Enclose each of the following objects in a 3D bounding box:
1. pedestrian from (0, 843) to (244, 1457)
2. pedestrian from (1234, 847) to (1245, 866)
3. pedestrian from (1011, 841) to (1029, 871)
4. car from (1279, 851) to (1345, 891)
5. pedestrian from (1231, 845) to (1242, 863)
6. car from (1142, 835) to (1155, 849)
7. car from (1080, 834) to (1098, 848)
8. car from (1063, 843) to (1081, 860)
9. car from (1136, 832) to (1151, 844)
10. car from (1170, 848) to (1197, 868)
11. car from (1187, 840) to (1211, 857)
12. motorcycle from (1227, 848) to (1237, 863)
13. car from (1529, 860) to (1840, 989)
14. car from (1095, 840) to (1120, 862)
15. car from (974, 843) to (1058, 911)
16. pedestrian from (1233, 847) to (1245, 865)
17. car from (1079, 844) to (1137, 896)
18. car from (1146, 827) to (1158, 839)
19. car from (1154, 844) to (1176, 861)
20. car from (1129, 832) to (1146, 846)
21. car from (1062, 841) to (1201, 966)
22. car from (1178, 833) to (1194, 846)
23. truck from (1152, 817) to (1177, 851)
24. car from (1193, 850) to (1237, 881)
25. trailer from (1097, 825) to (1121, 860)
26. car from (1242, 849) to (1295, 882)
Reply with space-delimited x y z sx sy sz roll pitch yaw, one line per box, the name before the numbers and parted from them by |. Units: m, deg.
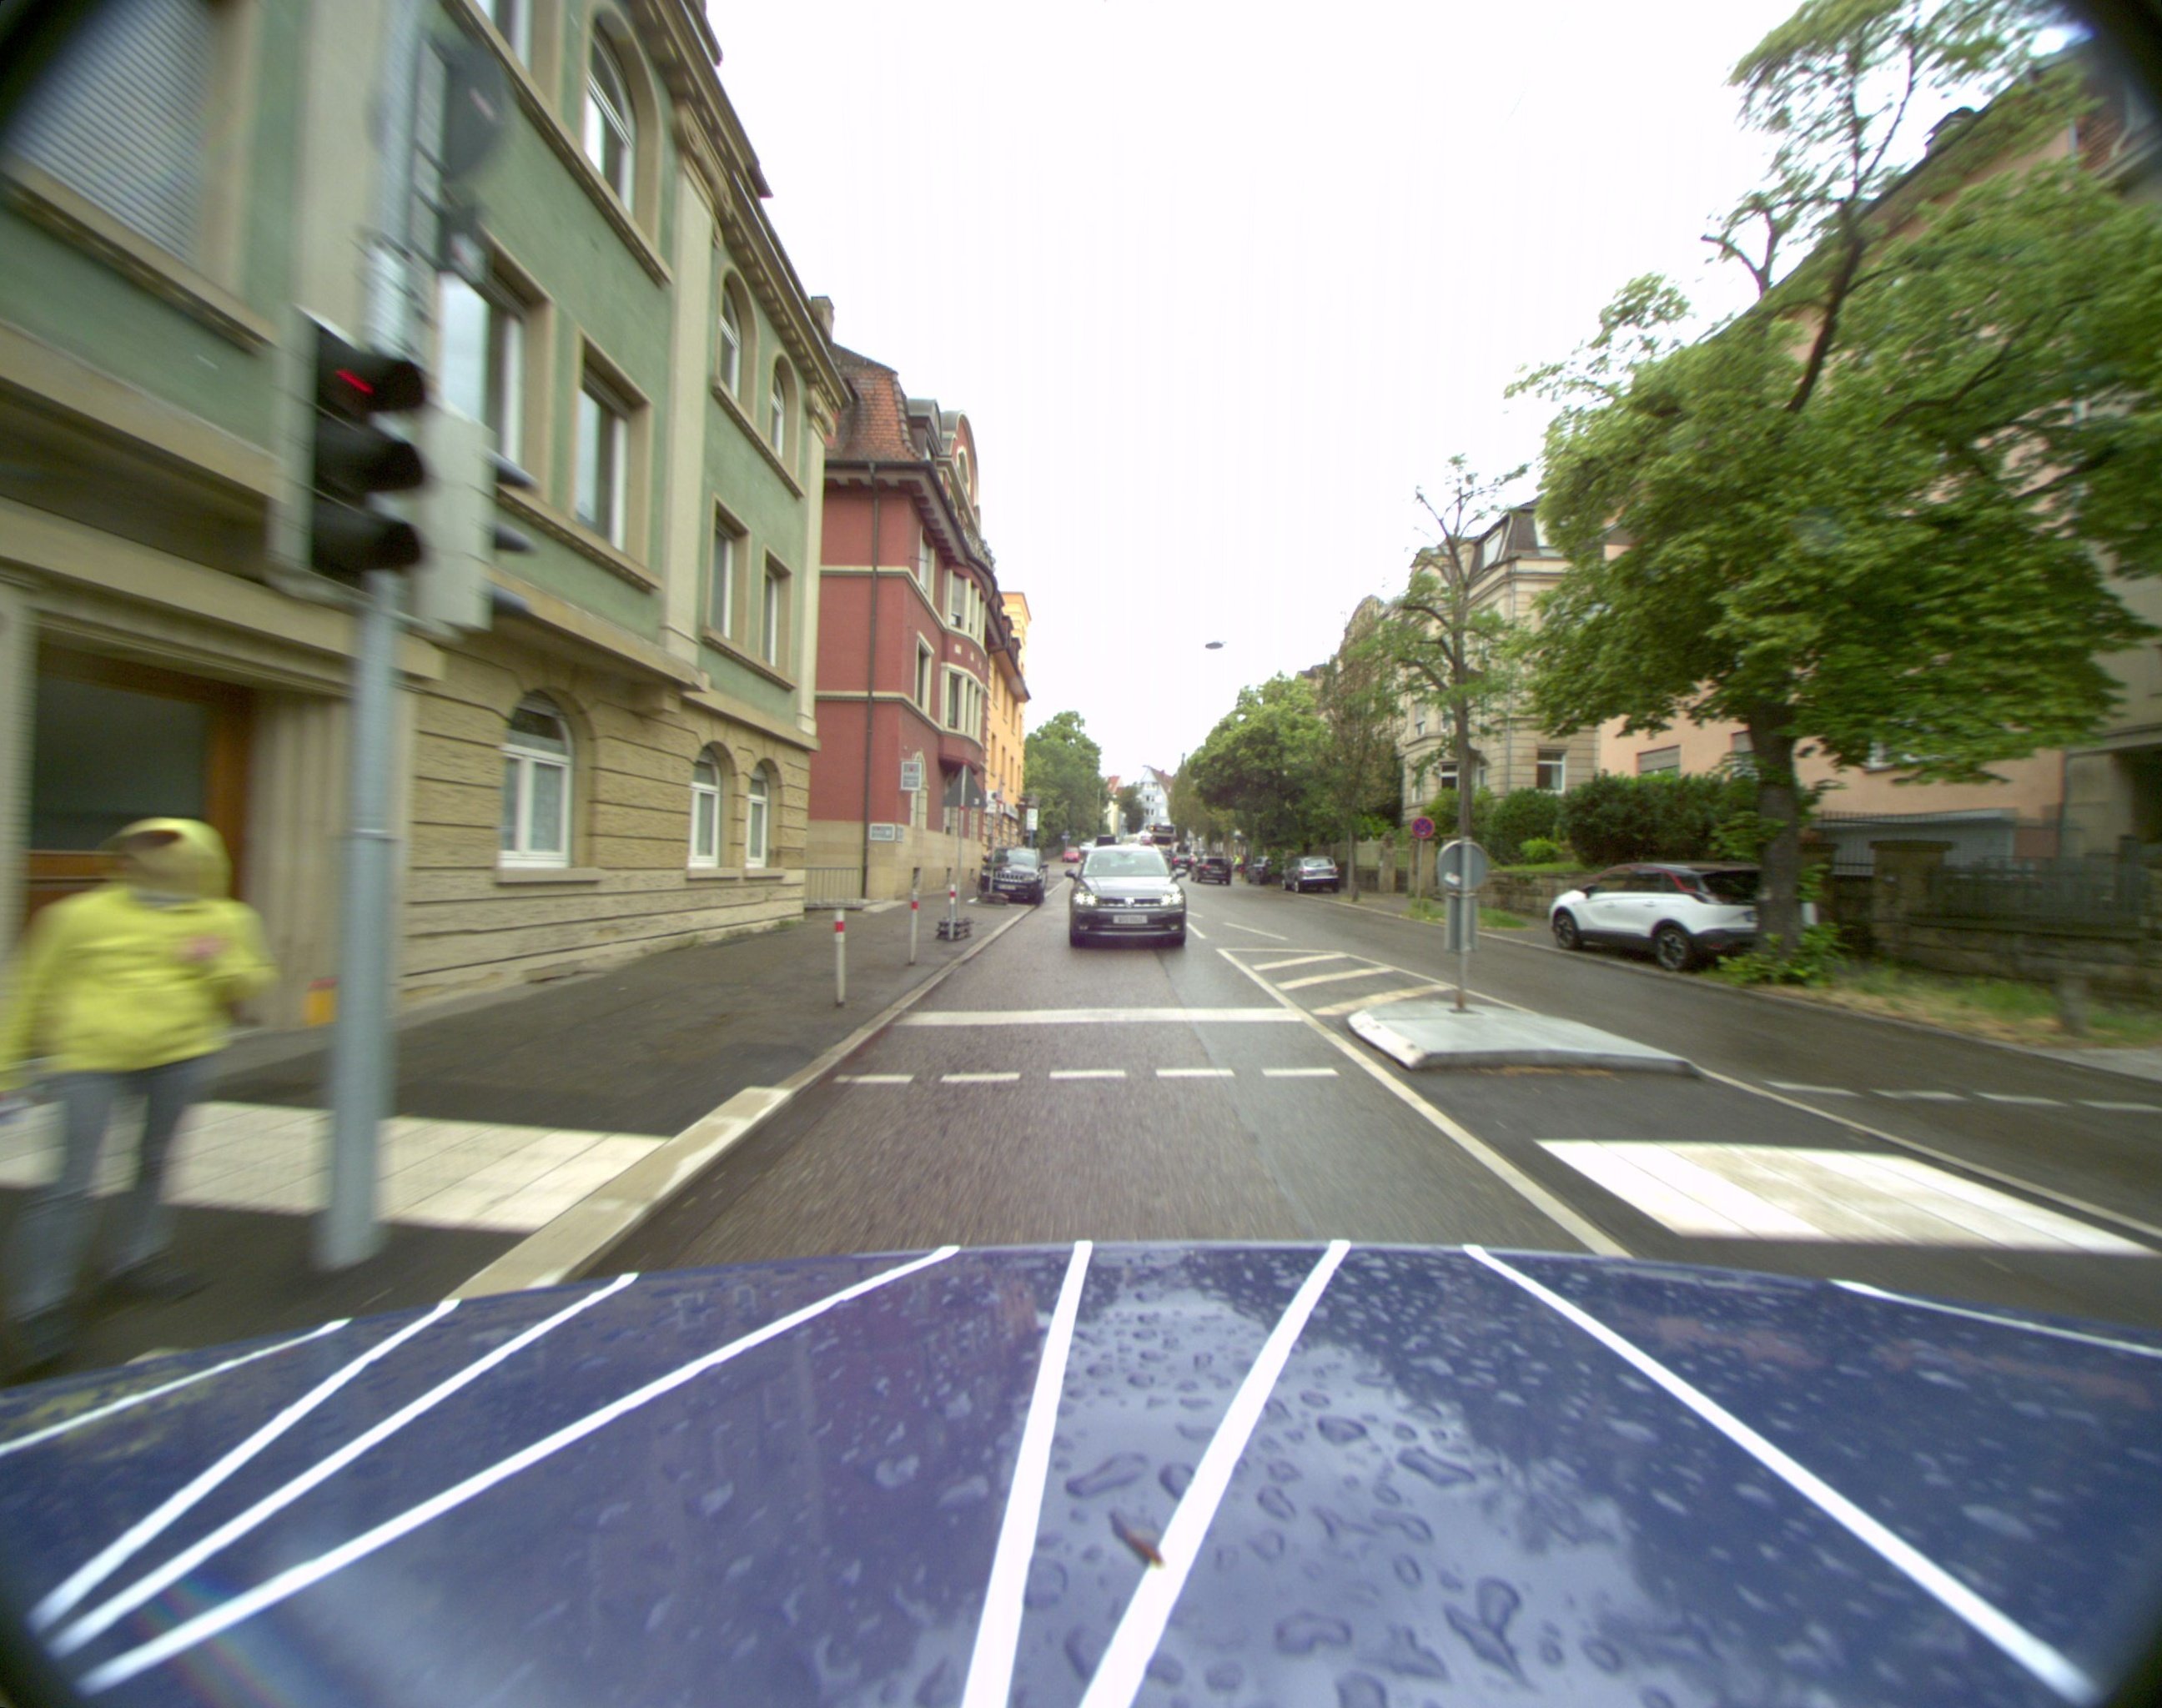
pedestrian | -2.992 0.775 2.241 0.663 1.576 0.600 4 2 36
pedestrian | 12.614 0.179 60.431 0.768 1.424 0.649 2 3 4
pedestrian | -3.304 0.091 41.024 0.769 1.581 0.710 1 3 -17
car | 10.161 0.696 33.743 1.745 1.550 4.301 0 2 2
pedestrian | 12.631 0.003 61.705 0.768 1.424 0.759 2 3 2
car | 9.902 -1.784 111.246 1.655 1.699 4.114 4 4 8
car | 1.049 -1.664 94.435 1.745 1.455 4.883 5 3 5
car | -0.858 -0.299 75.398 1.613 1.493 3.957 3 2 2
car | 8.360 -2.122 101.537 1.714 1.471 4.115 4 2 8
car | 8.443 0.281 62.898 1.776 1.509 4.590 1 1 1
car | 11.797 -0.590 76.127 1.746 1.550 4.300 0 2 0
motorcycle | 13.164 0.103 66.392 0.657 1.230 1.763 2 2 5
car | 9.433 0.978 12.444 1.745 1.550 4.301 0 2 2
car | 2.251 -0.277 63.302 1.924 1.642 4.134 0 2 4
car | -1.873 0.611 23.373 1.881 1.621 4.696 4 2 2
pedestrian | 12.661 0.149 60.960 0.768 1.424 0.649 2 3 4
car | 1.064 0.518 27.529 1.924 1.642 4.486 0 2 4
car | 11.164 -3.244 119.214 1.655 1.699 4.114 4 4 8
car | 8.660 -0.154 78.500 1.776 1.460 4.745 3 3 1
car | 6.596 -1.730 88.391 1.776 1.509 4.099 2 2 5
car | 0.768 0.631 13.006 1.859 1.642 5.194 1 2 2
car | 13.977 -2.001 101.611 2.000 1.587 3.828 -1 2 7
truck | 10.342 -2.486 94.581 2.653 3.833 9.308 4 2 6
car | 7.253 0.560 41.575 1.819 1.509 4.549 3 1 4
trailer | 2.465 -1.026 66.506 1.966 3.025 2.364 0 2 4
car | 10.266 0.569 41.894 1.746 1.550 4.300 -2 2 -1
